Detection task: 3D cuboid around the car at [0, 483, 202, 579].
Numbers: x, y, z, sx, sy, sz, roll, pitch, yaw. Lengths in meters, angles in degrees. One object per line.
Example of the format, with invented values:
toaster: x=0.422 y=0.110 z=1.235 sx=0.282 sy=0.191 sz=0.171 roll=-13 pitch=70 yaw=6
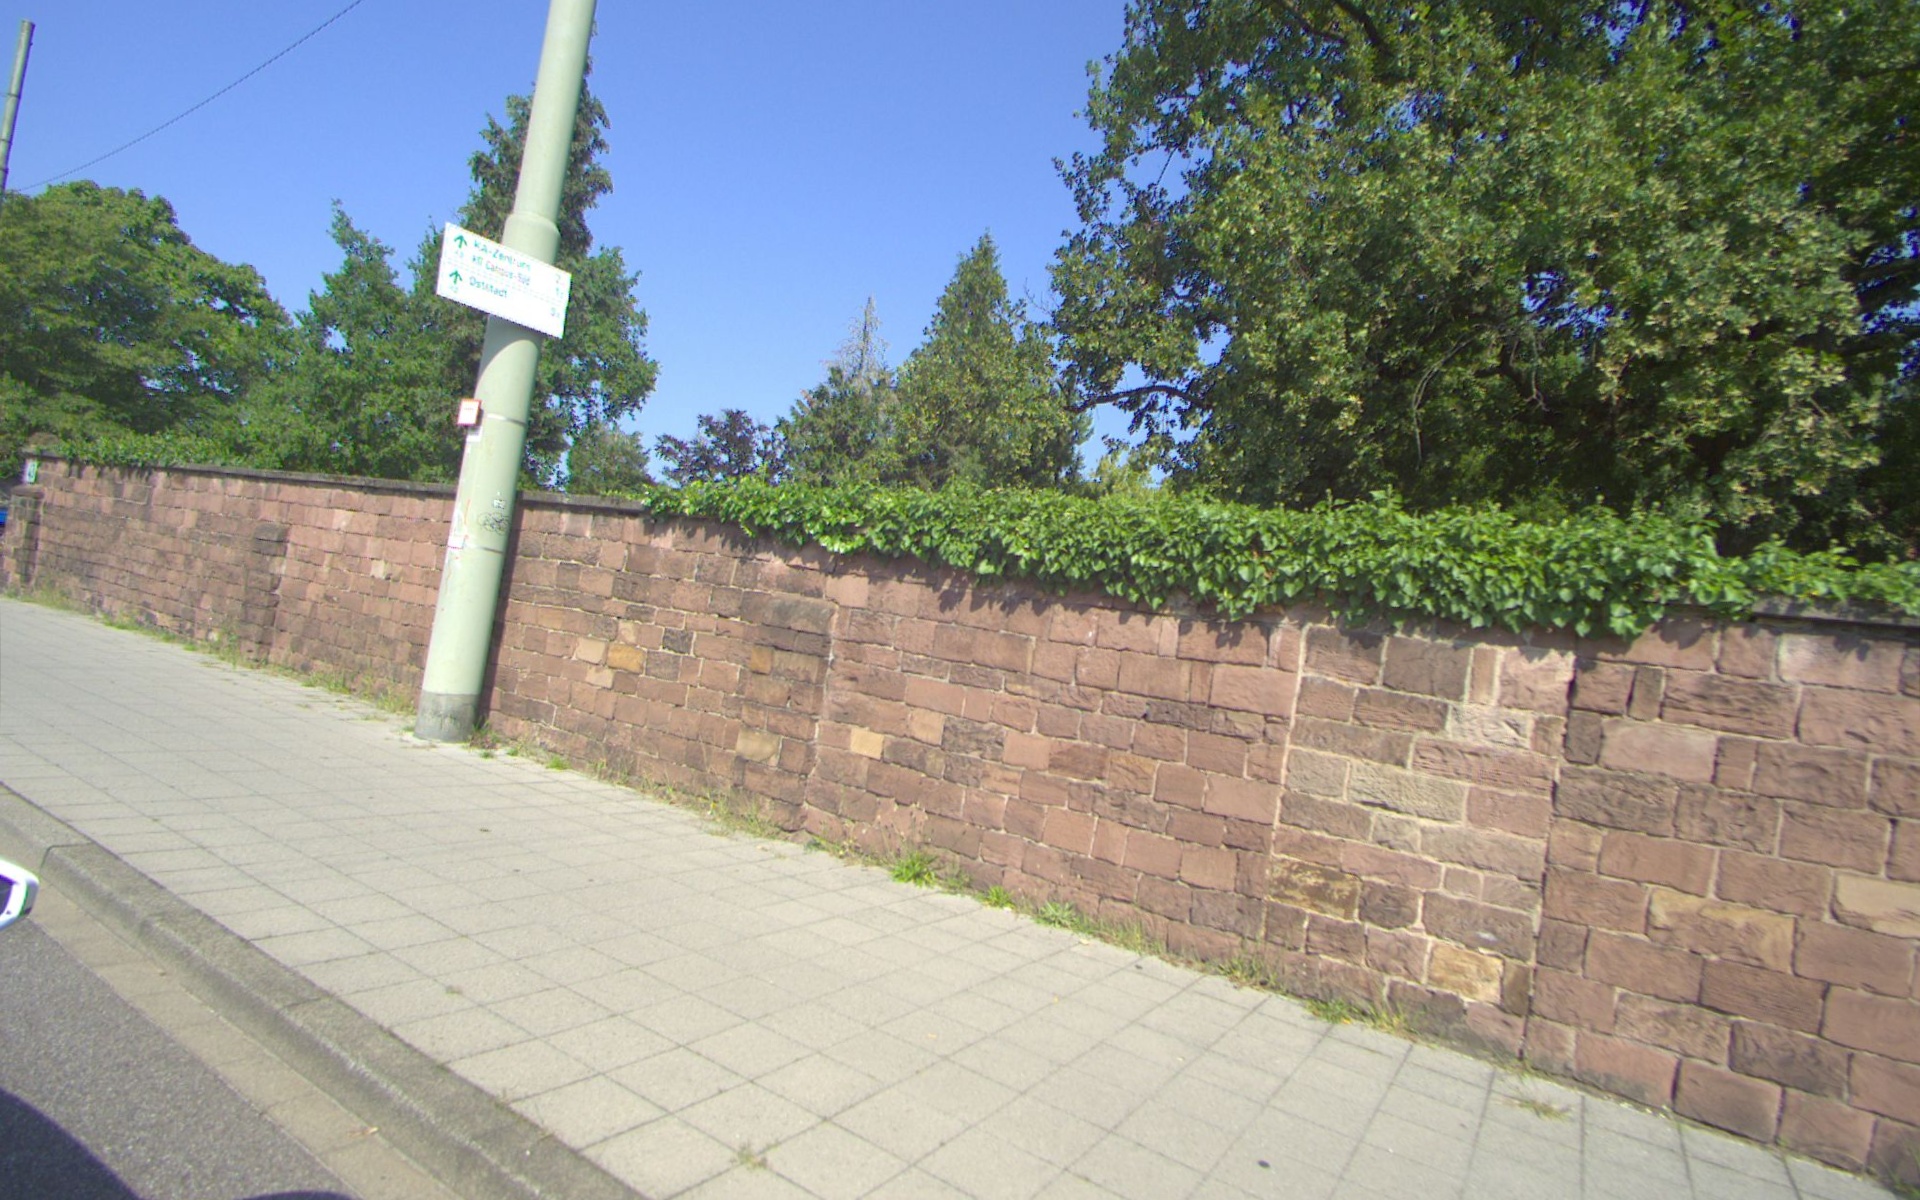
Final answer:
car: x=-20.394 y=-1.622 z=23.363 sx=1.748 sy=1.479 sz=3.979 roll=8 pitch=-3 yaw=31
